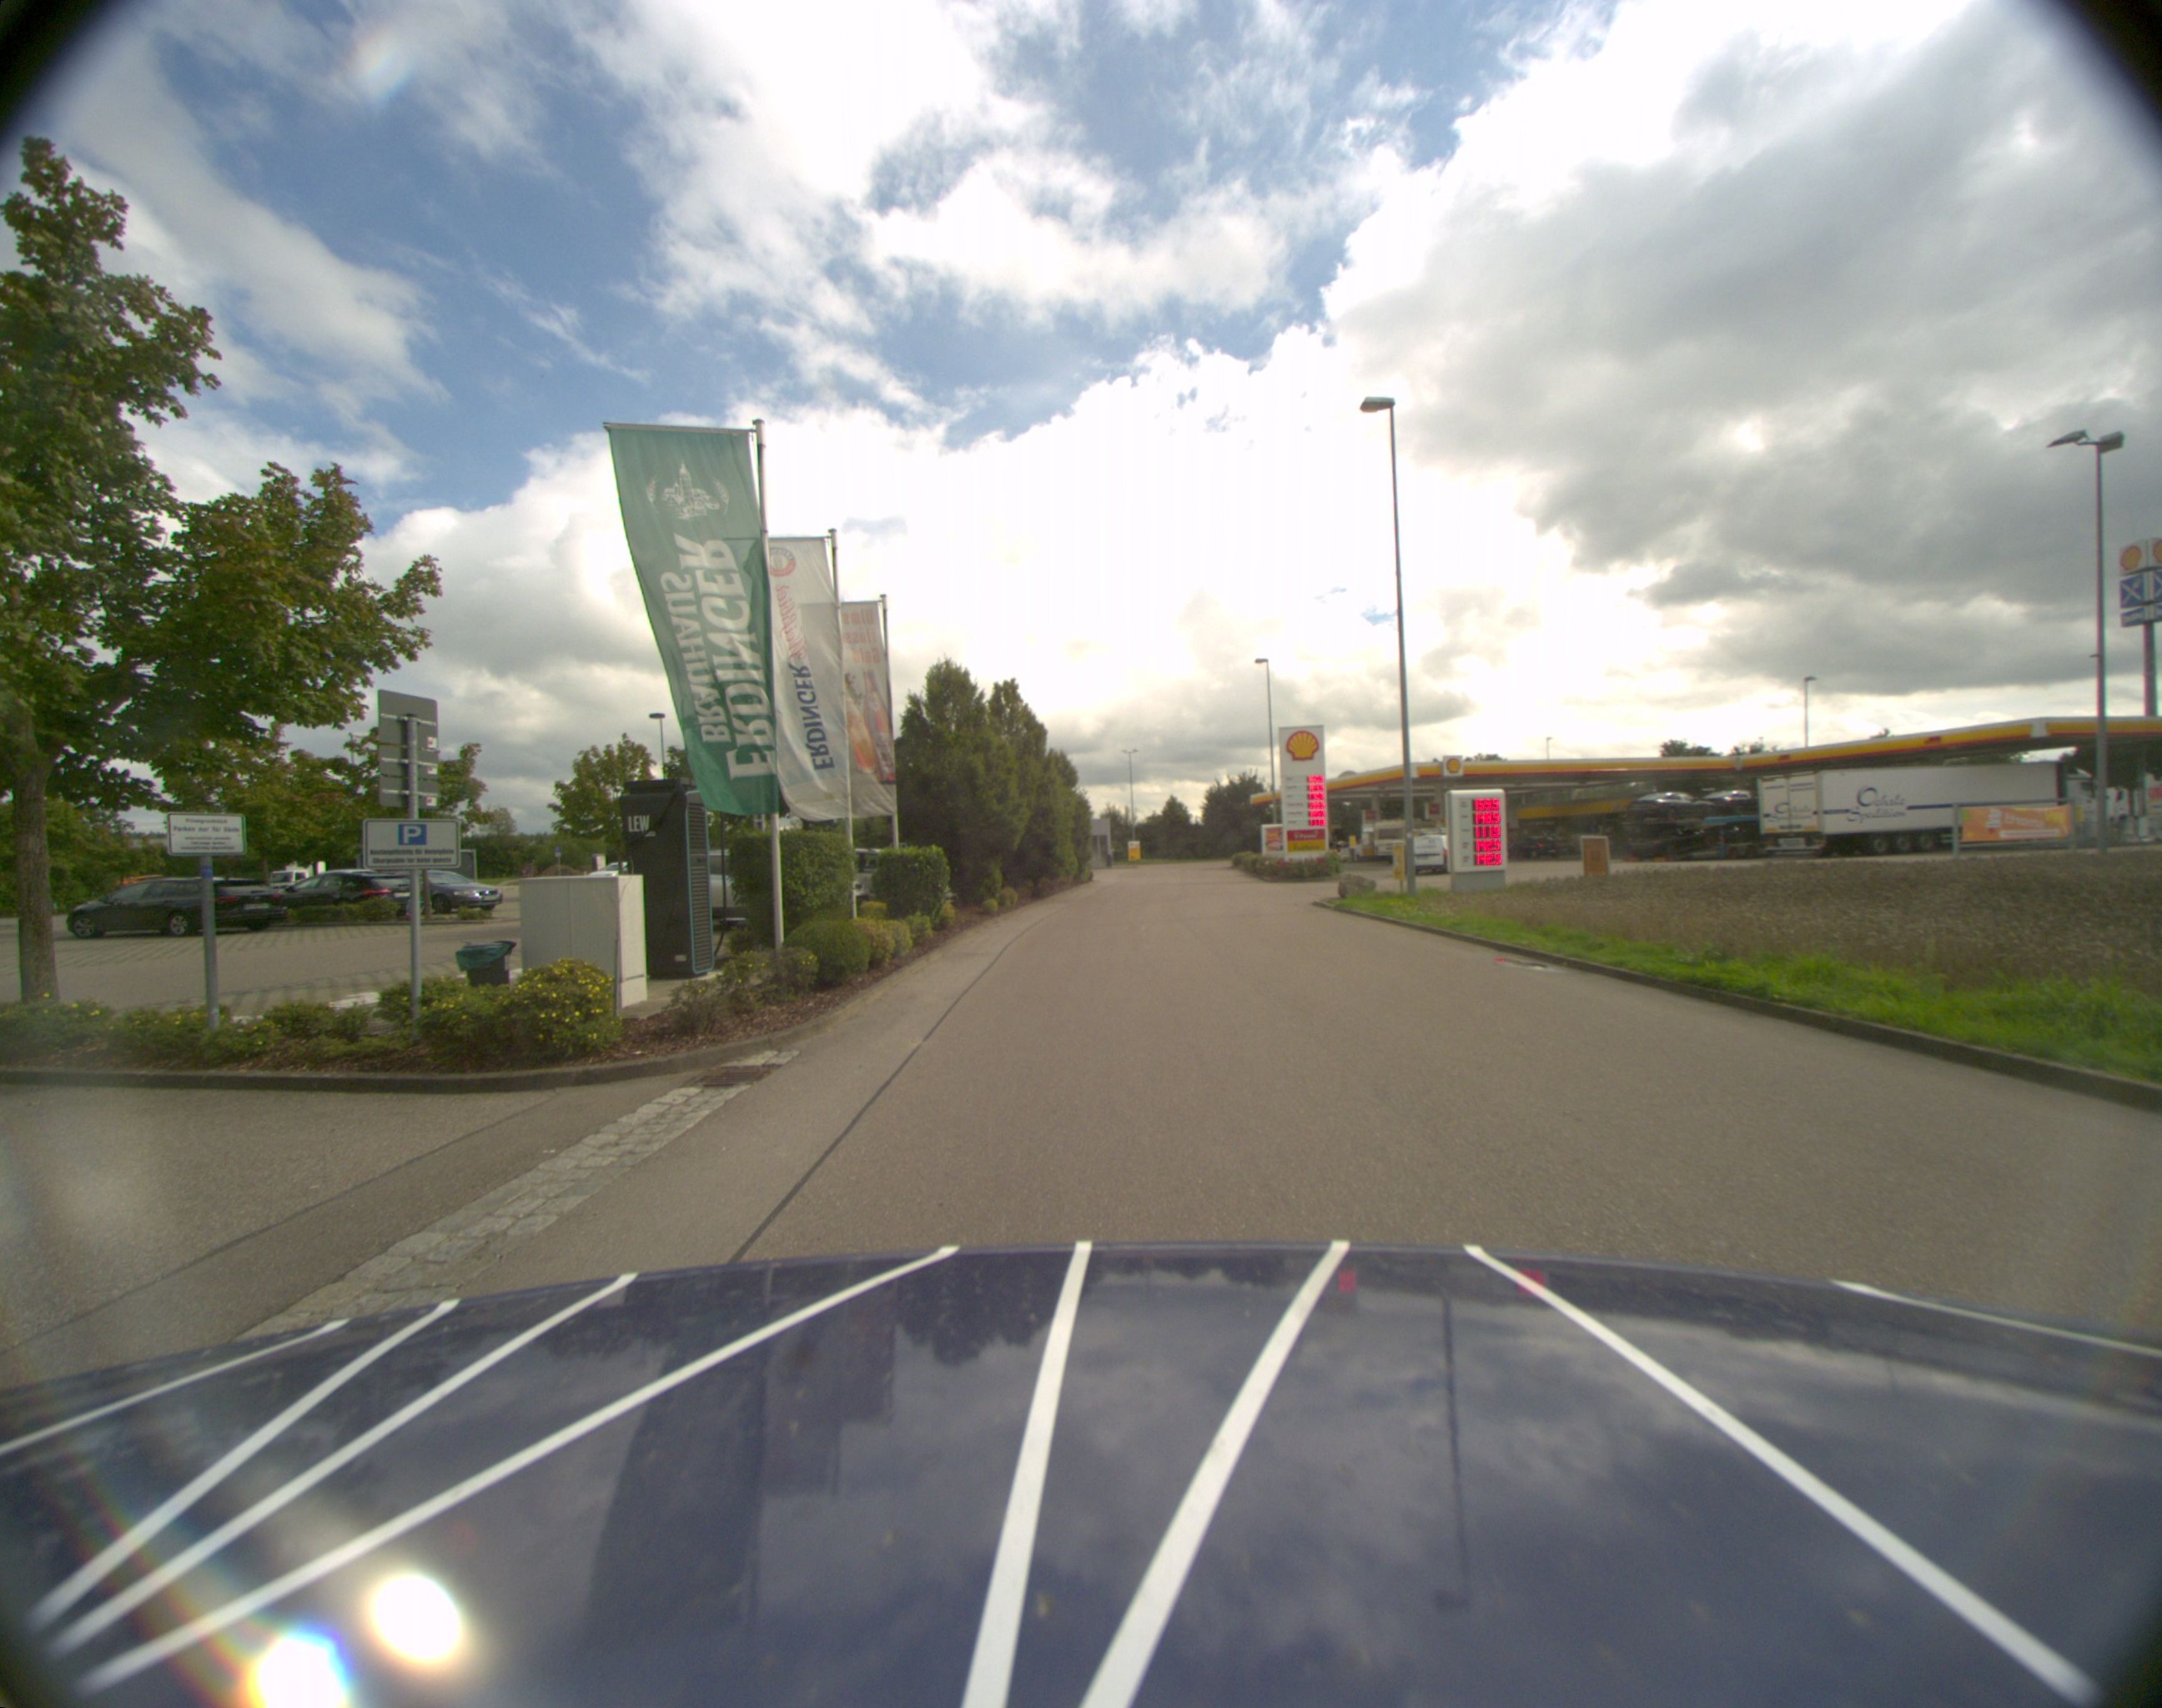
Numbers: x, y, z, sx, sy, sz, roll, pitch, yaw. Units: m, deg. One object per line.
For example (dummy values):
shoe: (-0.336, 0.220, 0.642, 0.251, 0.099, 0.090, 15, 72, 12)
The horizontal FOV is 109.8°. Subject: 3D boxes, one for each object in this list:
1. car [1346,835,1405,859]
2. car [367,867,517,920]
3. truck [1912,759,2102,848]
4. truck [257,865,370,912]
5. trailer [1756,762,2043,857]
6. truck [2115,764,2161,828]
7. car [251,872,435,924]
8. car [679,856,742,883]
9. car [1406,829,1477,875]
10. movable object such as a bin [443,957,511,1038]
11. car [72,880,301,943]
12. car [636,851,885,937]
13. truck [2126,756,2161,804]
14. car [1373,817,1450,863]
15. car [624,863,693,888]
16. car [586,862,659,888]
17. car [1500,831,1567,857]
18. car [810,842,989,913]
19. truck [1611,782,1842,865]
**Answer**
car: (20.576, -0.490, 52.964, 3.968, 1.550, 1.995, -2, 0, -37)
car: (-21.676, 1.323, 25.807, 3.992, 1.562, 2.002, -2, 0, 17)
truck: (45.651, -2.469, 37.541, 7.169, 4.001, 2.710, -2, 0, -10)
truck: (-74.183, 3.237, 73.750, 1.998, 4.097, 8.548, -2, 0, 0)
trailer: (39.143, -2.104, 36.366, 12.848, 4.001, 2.710, -2, 0, -10)
truck: (68.675, -3.647, 45.802, 2.955, 4.089, 14.775, -1, 2, 35)
car: (-22.519, 1.328, 23.252, 4.270, 1.338, 1.722, -2, 0, 8)
car: (-25.014, 1.019, 51.449, 1.720, 1.605, 4.002, -2, 0, 9)
car: (16.881, -0.131, 35.507, 1.791, 2.000, 3.889, -2, 0, 44)
movable object such as a bin: (-5.602, 1.322, 7.053, 0.288, 0.680, 0.368, -2, 0, 12)
car: (-22.781, 1.438, 19.425, 4.270, 1.338, 1.722, -2, 0, 8)
car: (-6.910, 0.832, 16.582, 4.672, 1.687, 1.920, -1, 1, 11)
truck: (94.988, -6.330, 60.883, 12.977, 3.871, 2.829, -1, 2, 36)
car: (21.478, -0.948, 49.266, 5.819, 2.770, 2.218, -2, 0, -42)
car: (-28.422, 1.422, 51.212, 1.603, 1.510, 4.005, -2, 0, 18)
car: (-31.017, 1.409, 51.541, 1.713, 1.510, 4.005, -2, 0, 18)
car: (30.538, -0.652, 51.357, 1.717, 1.592, 3.757, -3, 0, -14)
car: (-4.881, 0.618, 20.671, 4.358, 1.706, 1.658, -2, 0, 8)
truck: (34.611, -1.679, 40.618, 13.267, 3.901, 2.748, -3, 2, -18)
